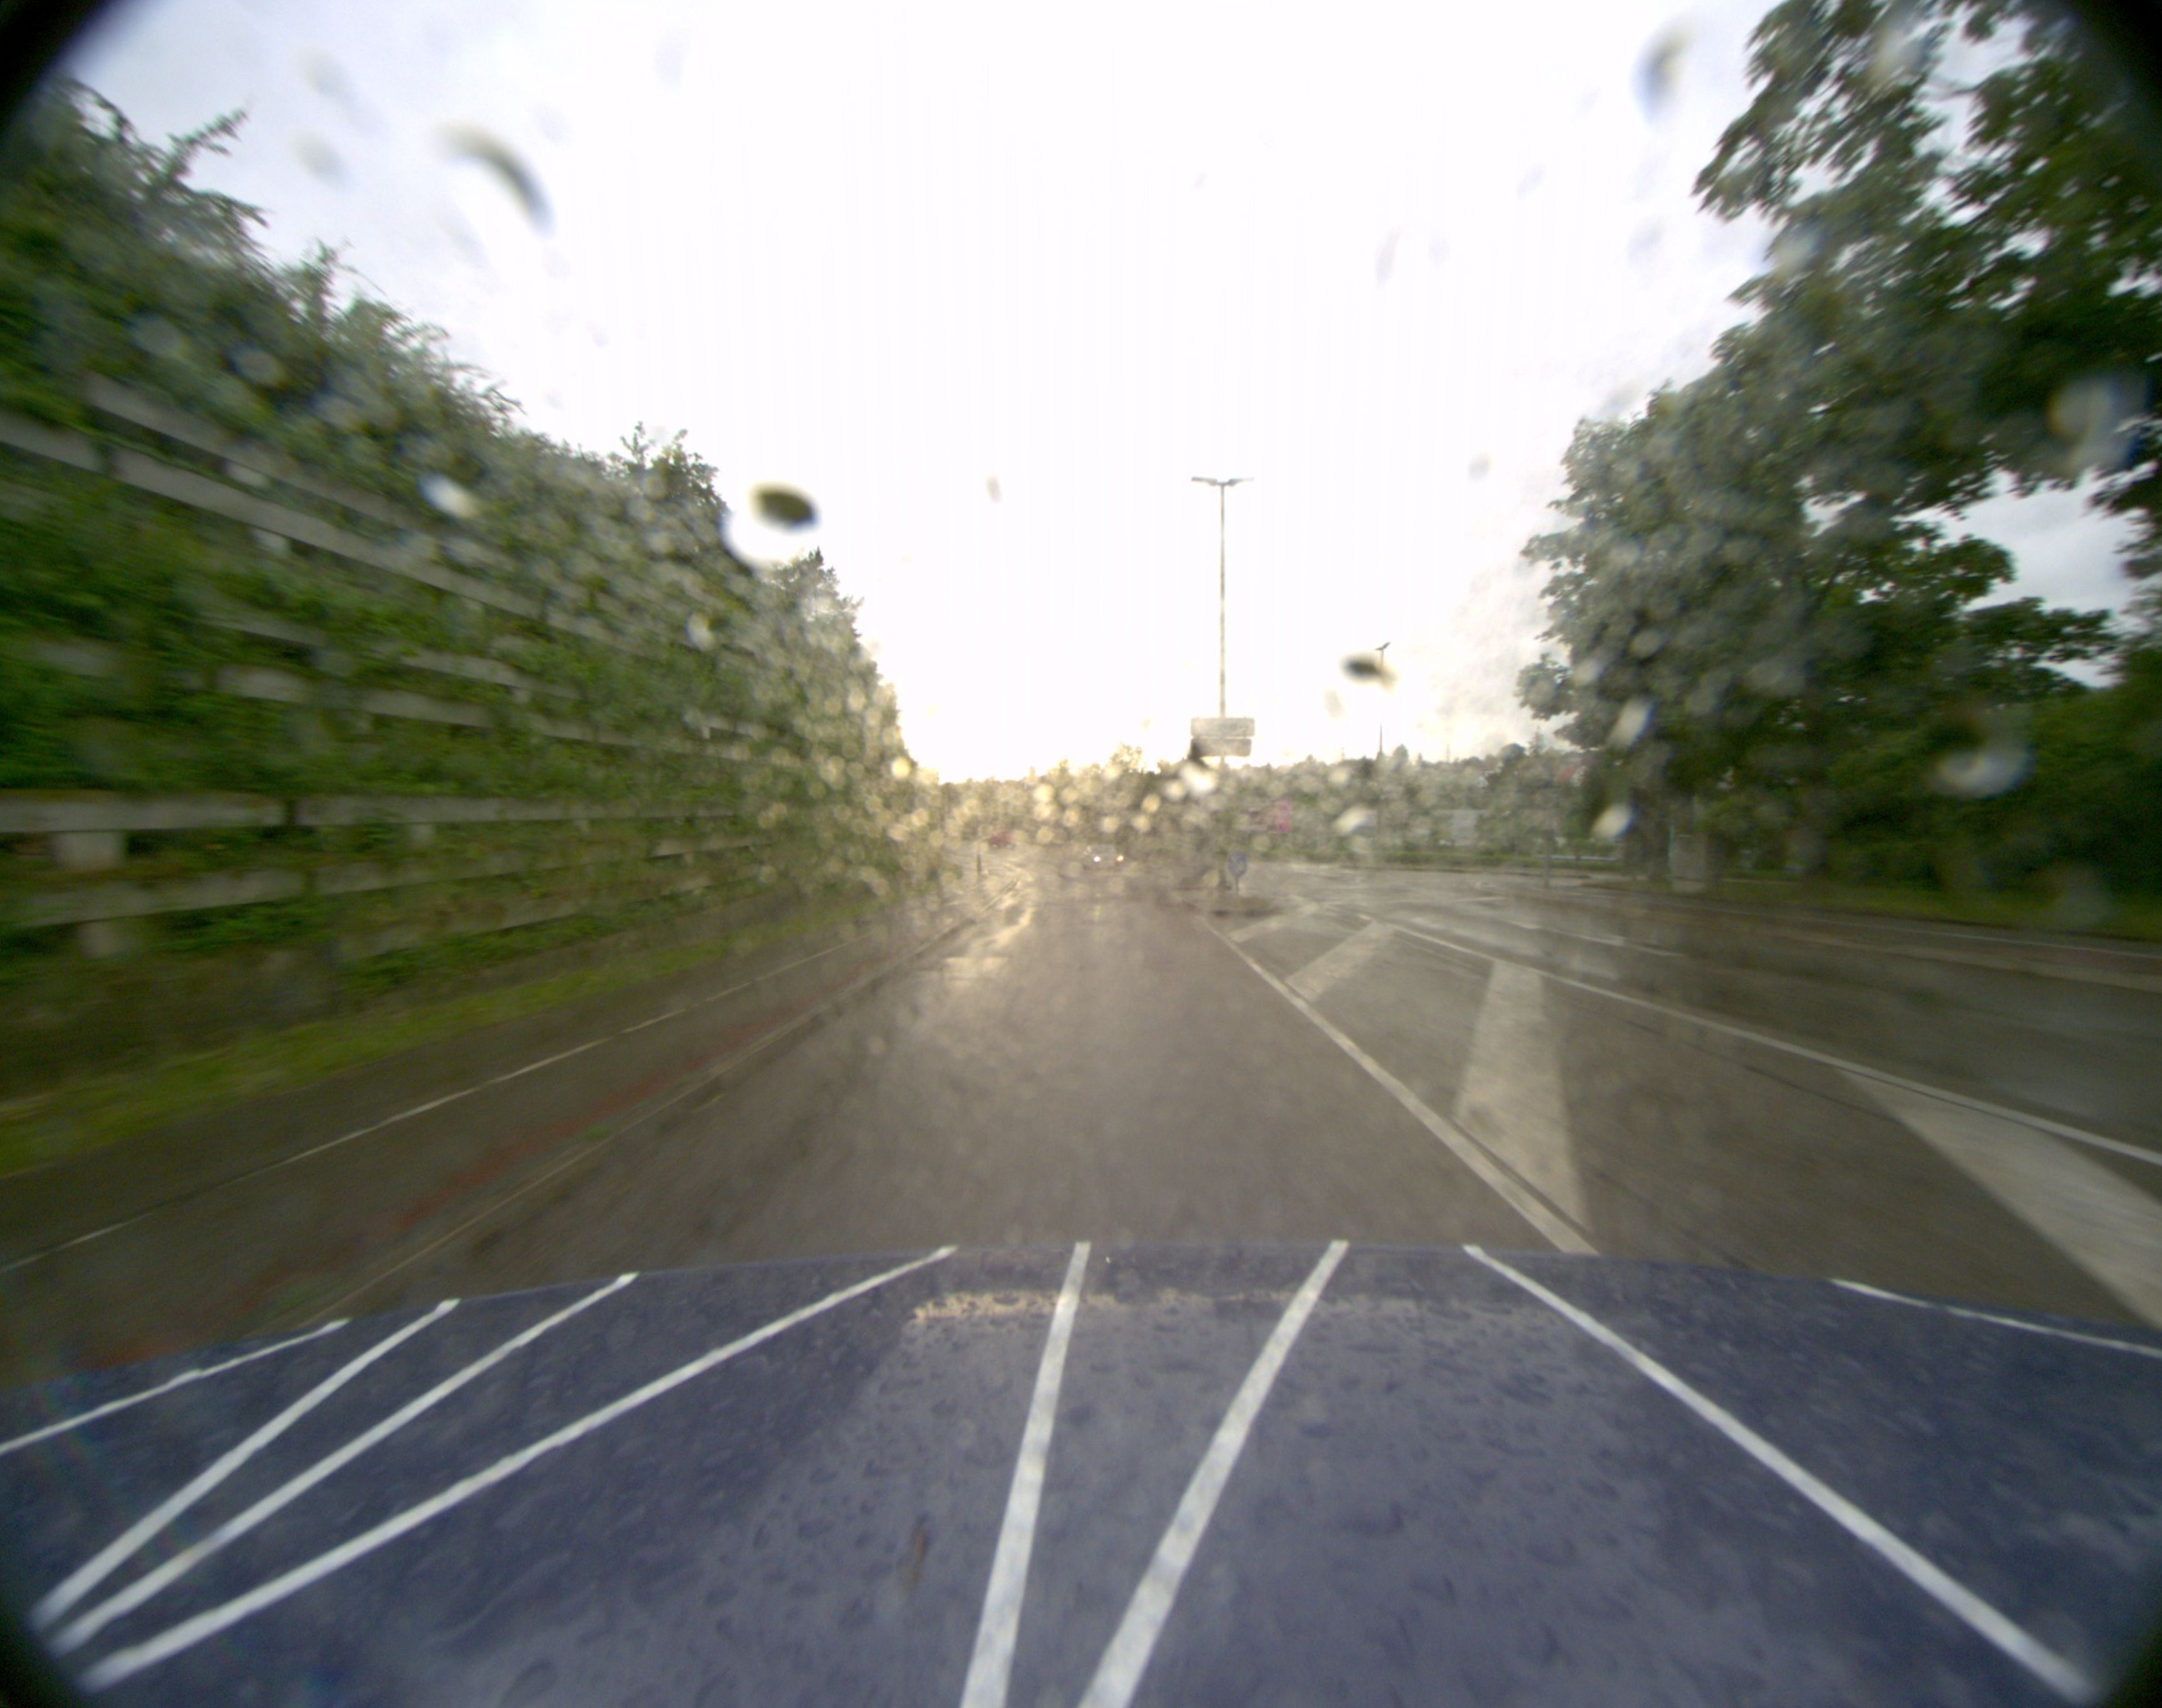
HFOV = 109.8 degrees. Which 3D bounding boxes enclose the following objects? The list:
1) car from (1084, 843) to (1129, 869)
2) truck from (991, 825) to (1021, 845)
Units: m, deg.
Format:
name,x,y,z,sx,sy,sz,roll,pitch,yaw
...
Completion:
name,x,y,z,sx,sy,sz,roll,pitch,yaw
car,1.407,0.067,43.664,1.761,1.387,3.996,-1,1,-11
truck,-8.393,-2.159,84.793,2.001,2.003,5.326,-3,4,-19
